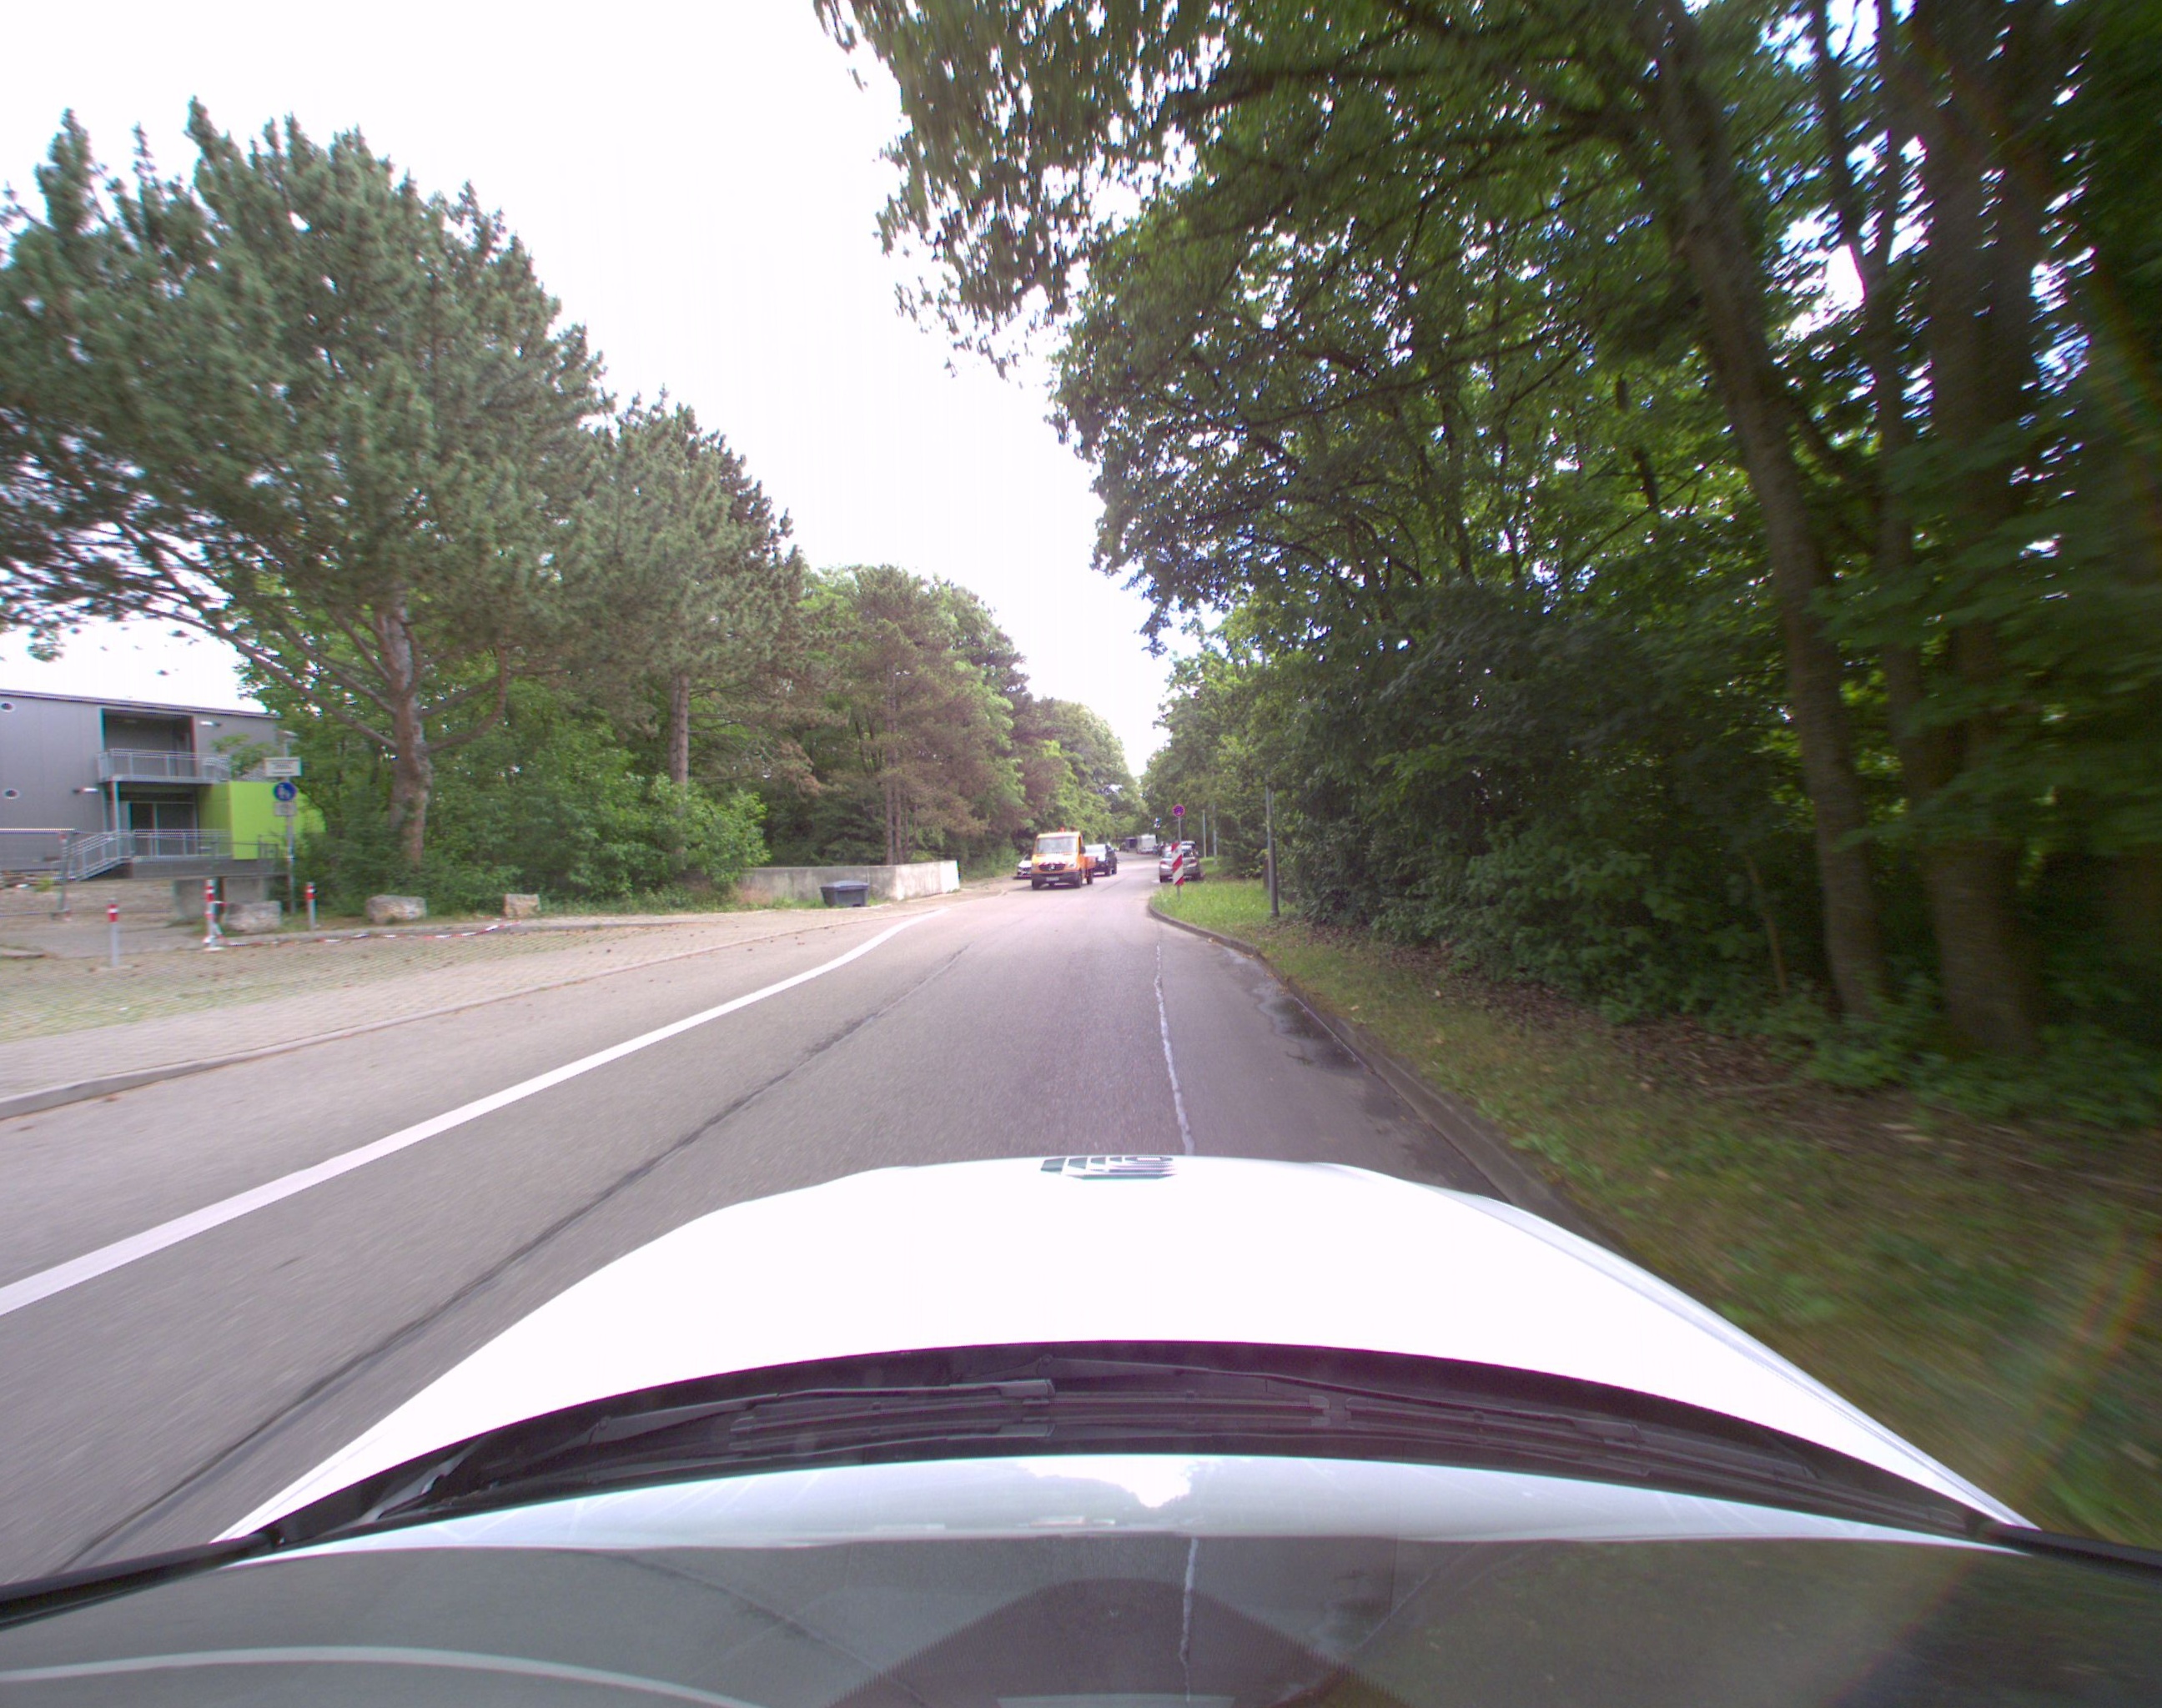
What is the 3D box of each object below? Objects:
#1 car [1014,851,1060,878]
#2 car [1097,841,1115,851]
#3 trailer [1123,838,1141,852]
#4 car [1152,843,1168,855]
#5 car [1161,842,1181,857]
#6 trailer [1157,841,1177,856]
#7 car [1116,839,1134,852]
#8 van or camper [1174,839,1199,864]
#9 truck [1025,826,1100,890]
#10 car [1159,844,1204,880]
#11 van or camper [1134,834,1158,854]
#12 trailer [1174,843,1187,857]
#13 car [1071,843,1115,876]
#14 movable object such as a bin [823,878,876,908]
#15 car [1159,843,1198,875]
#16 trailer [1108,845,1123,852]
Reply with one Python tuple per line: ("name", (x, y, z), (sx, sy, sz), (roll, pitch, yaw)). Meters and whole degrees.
("car", (-2.419, 0.546, 45.707), (1.796, 1.402, 4.380), (-1, 1, 7))
("car", (4.746, -1.596, 156.216), (2.041, 1.803, 4.058), (-4, 1, -18))
("trailer", (8.596, -1.508, 137.746), (1.995, 2.398, 3.983), (-3, 1, -12))
("car", (11.290, -0.750, 116.610), (1.795, 1.562, 3.832), (-3, 1, -3))
("car", (11.169, -0.553, 101.070), (1.787, 1.670, 4.498), (-3, -1, -2))
("trailer", (11.287, -0.763, 107.232), (1.973, 1.811, 5.148), (-3, 1, 0))
("car", (7.764, -1.483, 143.183), (1.996, 2.025, 3.982), (-6, 3, -13))
("van or camper", (8.351, -0.179, 64.677), (1.792, 1.838, 4.328), (-2, -1, 7))
("truck", (-0.651, 0.100, 34.333), (2.310, 2.470, 6.032), (-1, 1, 7))
("car", (4.489, 0.307, 36.079), (1.782, 1.411, 4.069), (-3, 0, 9))
("van or camper", (10.118, -1.532, 127.068), (2.478, 2.875, 6.878), (-3, 1, -5))
("trailer", (11.588, -0.482, 94.616), (1.273, 1.585, 2.462), (-2, 1, 3))
("car", (0.749, 0.286, 47.083), (1.983, 1.735, 5.346), (-2, 0, 6))
("movable object such as a bin", (-6.174, 1.026, 21.727), (1.151, 0.760, 1.039), (0, -1, -30))
("car", (5.240, 0.214, 43.502), (1.876, 1.506, 5.187), (-3, 0, 7))
("trailer", (6.219, -1.039, 147.036), (1.652, 1.086, 3.986), (-5, 2, -10))
